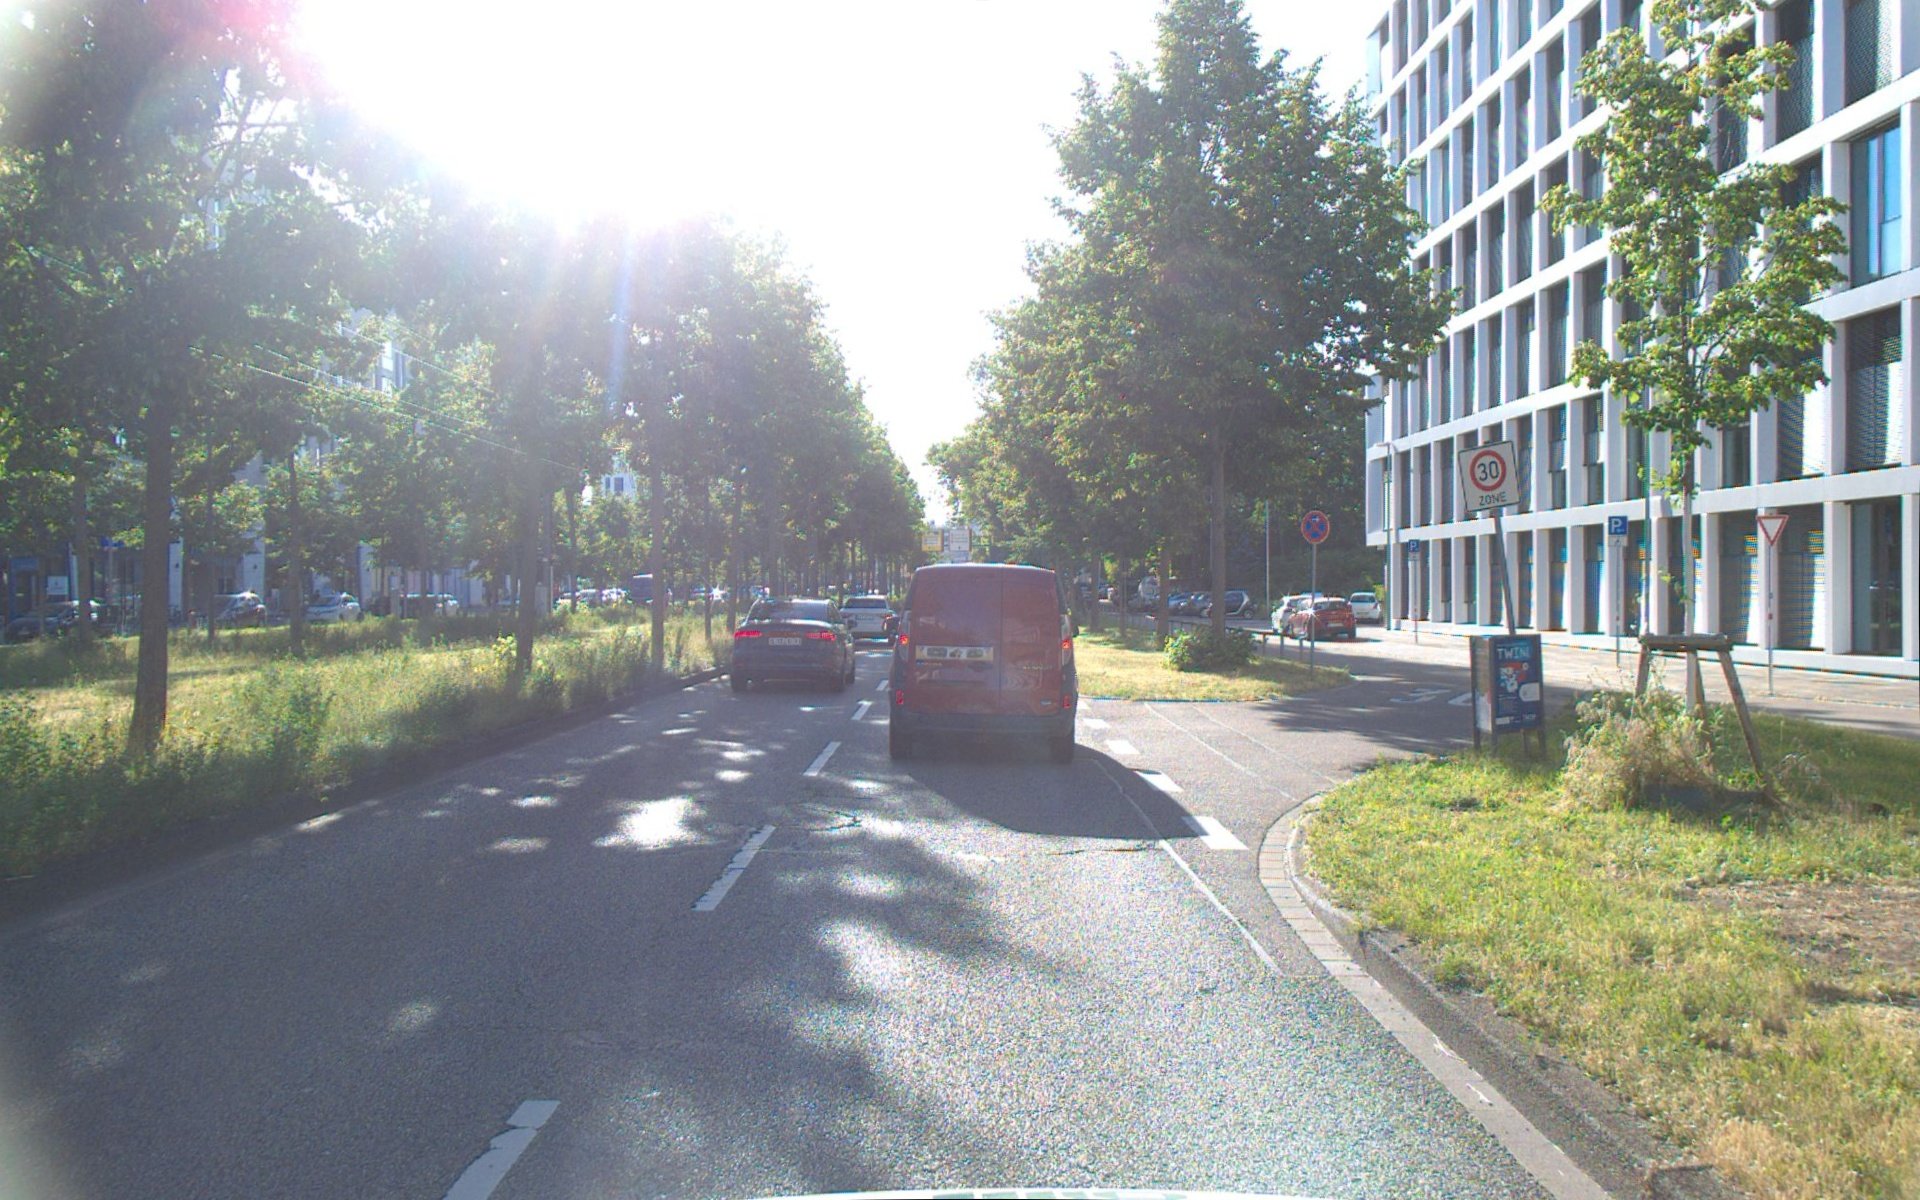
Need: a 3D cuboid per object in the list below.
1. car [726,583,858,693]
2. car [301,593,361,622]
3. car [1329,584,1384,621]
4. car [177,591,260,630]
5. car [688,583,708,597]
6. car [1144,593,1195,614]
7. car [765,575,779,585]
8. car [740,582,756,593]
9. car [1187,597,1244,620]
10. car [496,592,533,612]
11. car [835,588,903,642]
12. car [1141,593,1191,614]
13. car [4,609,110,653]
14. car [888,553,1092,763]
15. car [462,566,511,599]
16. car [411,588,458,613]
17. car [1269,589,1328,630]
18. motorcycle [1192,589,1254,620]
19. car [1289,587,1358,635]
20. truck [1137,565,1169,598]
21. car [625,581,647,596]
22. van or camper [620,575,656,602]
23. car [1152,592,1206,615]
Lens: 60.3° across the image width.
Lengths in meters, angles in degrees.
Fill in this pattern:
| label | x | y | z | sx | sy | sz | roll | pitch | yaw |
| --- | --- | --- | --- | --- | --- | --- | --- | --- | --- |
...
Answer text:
| label | x | y | z | sx | sy | sz | roll | pitch | yaw |
| --- | --- | --- | --- | --- | --- | --- | --- | --- | --- |
| car | -2.563 | 0.528 | 26.021 | 1.771 | 1.554 | 4.112 | 0 | 1 | -2 |
| car | -30.951 | 0.349 | 81.468 | 1.548 | 1.365 | 3.712 | 0 | 1 | -1 |
| car | 20.115 | 0.119 | 84.044 | 1.952 | 1.847 | 4.001 | 0 | 0 | 1 |
| car | -30.814 | 0.404 | 68.825 | 1.740 | 1.555 | 3.806 | 0 | 1 | -1 |
| car | -31.314 | -1.231 | 197.736 | 1.720 | 1.601 | 4.000 | 0 | 1 | -1 |
| car | 14.021 | 0.207 | 110.652 | 3.326 | 1.382 | 1.472 | 0 | 1 | 6 |
| car | -28.625 | -3.031 | 251.589 | 1.720 | 1.601 | 4.000 | 0 | 1 | -1 |
| car | -29.686 | -1.761 | 232.016 | 1.720 | 1.601 | 4.000 | 0 | 1 | -1 |
| car | 15.278 | 0.506 | 98.910 | 3.326 | 1.382 | 1.472 | 0 | 1 | 6 |
| car | -30.850 | 0.135 | 114.660 | 1.548 | 1.365 | 3.712 | 0 | 1 | -1 |
| car | -2.618 | 0.406 | 48.332 | 1.771 | 1.459 | 4.113 | 0 | 1 | -1 |
| car | 14.070 | 0.221 | 112.979 | 3.326 | 1.382 | 1.472 | 0 | 1 | 6 |
| car | -30.585 | 1.033 | 56.123 | 1.548 | 1.365 | 3.712 | 0 | 1 | -1 |
| car | 0.196 | 0.502 | 16.594 | 1.772 | 1.825 | 4.111 | 1 | 0 | -2 |
| car | -29.456 | -1.100 | 102.990 | 1.953 | 2.049 | 3.999 | 0 | 1 | -2 |
| car | -30.286 | 0.000 | 95.430 | 1.548 | 1.365 | 3.712 | 0 | 1 | -1 |
| car | 13.252 | 0.351 | 64.864 | 1.781 | 1.559 | 3.439 | 0 | 1 | 3 |
| motorcycle | 14.558 | 0.228 | 91.533 | 3.326 | 1.692 | 1.472 | 0 | 0 | 6 |
| car | 13.147 | 0.381 | 59.977 | 1.721 | 1.639 | 3.904 | 0 | 1 | 1 |
| truck | 15.284 | -1.438 | 130.957 | 1.794 | 2.544 | 5.932 | 0 | 0 | -1 |
| car | -37.344 | -1.332 | 190.613 | 1.697 | 1.803 | 4.000 | 0 | 1 | -1 |
| van or camper | -21.997 | -0.786 | 113.055 | 1.783 | 1.768 | 3.712 | 0 | 1 | -1 |
| car | 13.658 | 0.234 | 103.351 | 3.326 | 1.382 | 1.472 | 0 | 1 | 6 |
